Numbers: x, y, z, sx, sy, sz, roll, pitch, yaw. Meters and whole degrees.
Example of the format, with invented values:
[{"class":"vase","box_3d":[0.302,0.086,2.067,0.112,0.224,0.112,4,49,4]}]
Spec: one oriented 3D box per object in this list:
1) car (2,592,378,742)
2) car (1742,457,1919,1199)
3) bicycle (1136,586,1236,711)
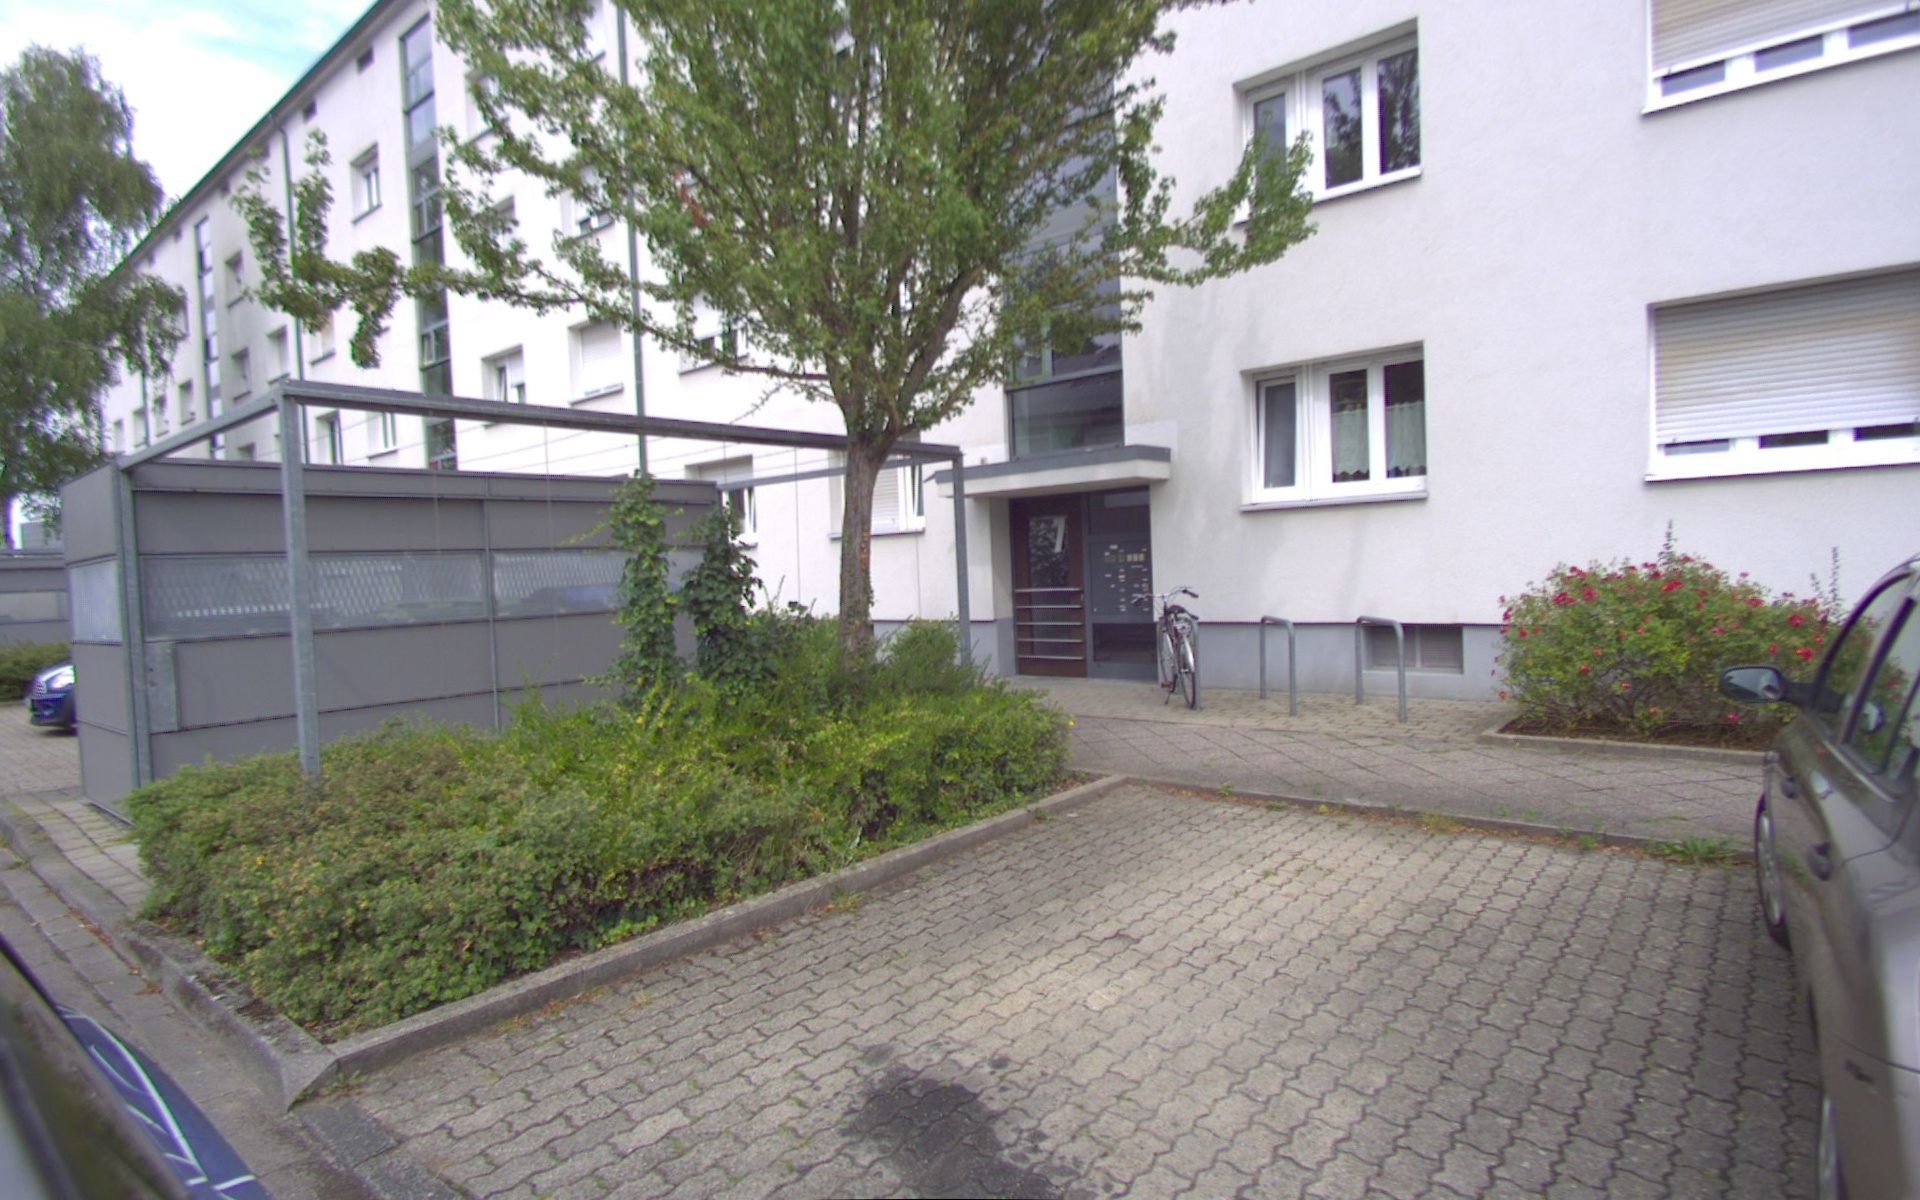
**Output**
[{"class":"car","box_3d":[-9.827,0.746,13.098,1.653,1.472,3.596,-1,3,43]},{"class":"car","box_3d":[2.947,0.492,2.264,1.707,1.492,3.531,-1,1,35]},{"class":"bicycle","box_3d":[2.109,0.403,9.636,0.472,1.032,1.811,-3,2,-1]}]
